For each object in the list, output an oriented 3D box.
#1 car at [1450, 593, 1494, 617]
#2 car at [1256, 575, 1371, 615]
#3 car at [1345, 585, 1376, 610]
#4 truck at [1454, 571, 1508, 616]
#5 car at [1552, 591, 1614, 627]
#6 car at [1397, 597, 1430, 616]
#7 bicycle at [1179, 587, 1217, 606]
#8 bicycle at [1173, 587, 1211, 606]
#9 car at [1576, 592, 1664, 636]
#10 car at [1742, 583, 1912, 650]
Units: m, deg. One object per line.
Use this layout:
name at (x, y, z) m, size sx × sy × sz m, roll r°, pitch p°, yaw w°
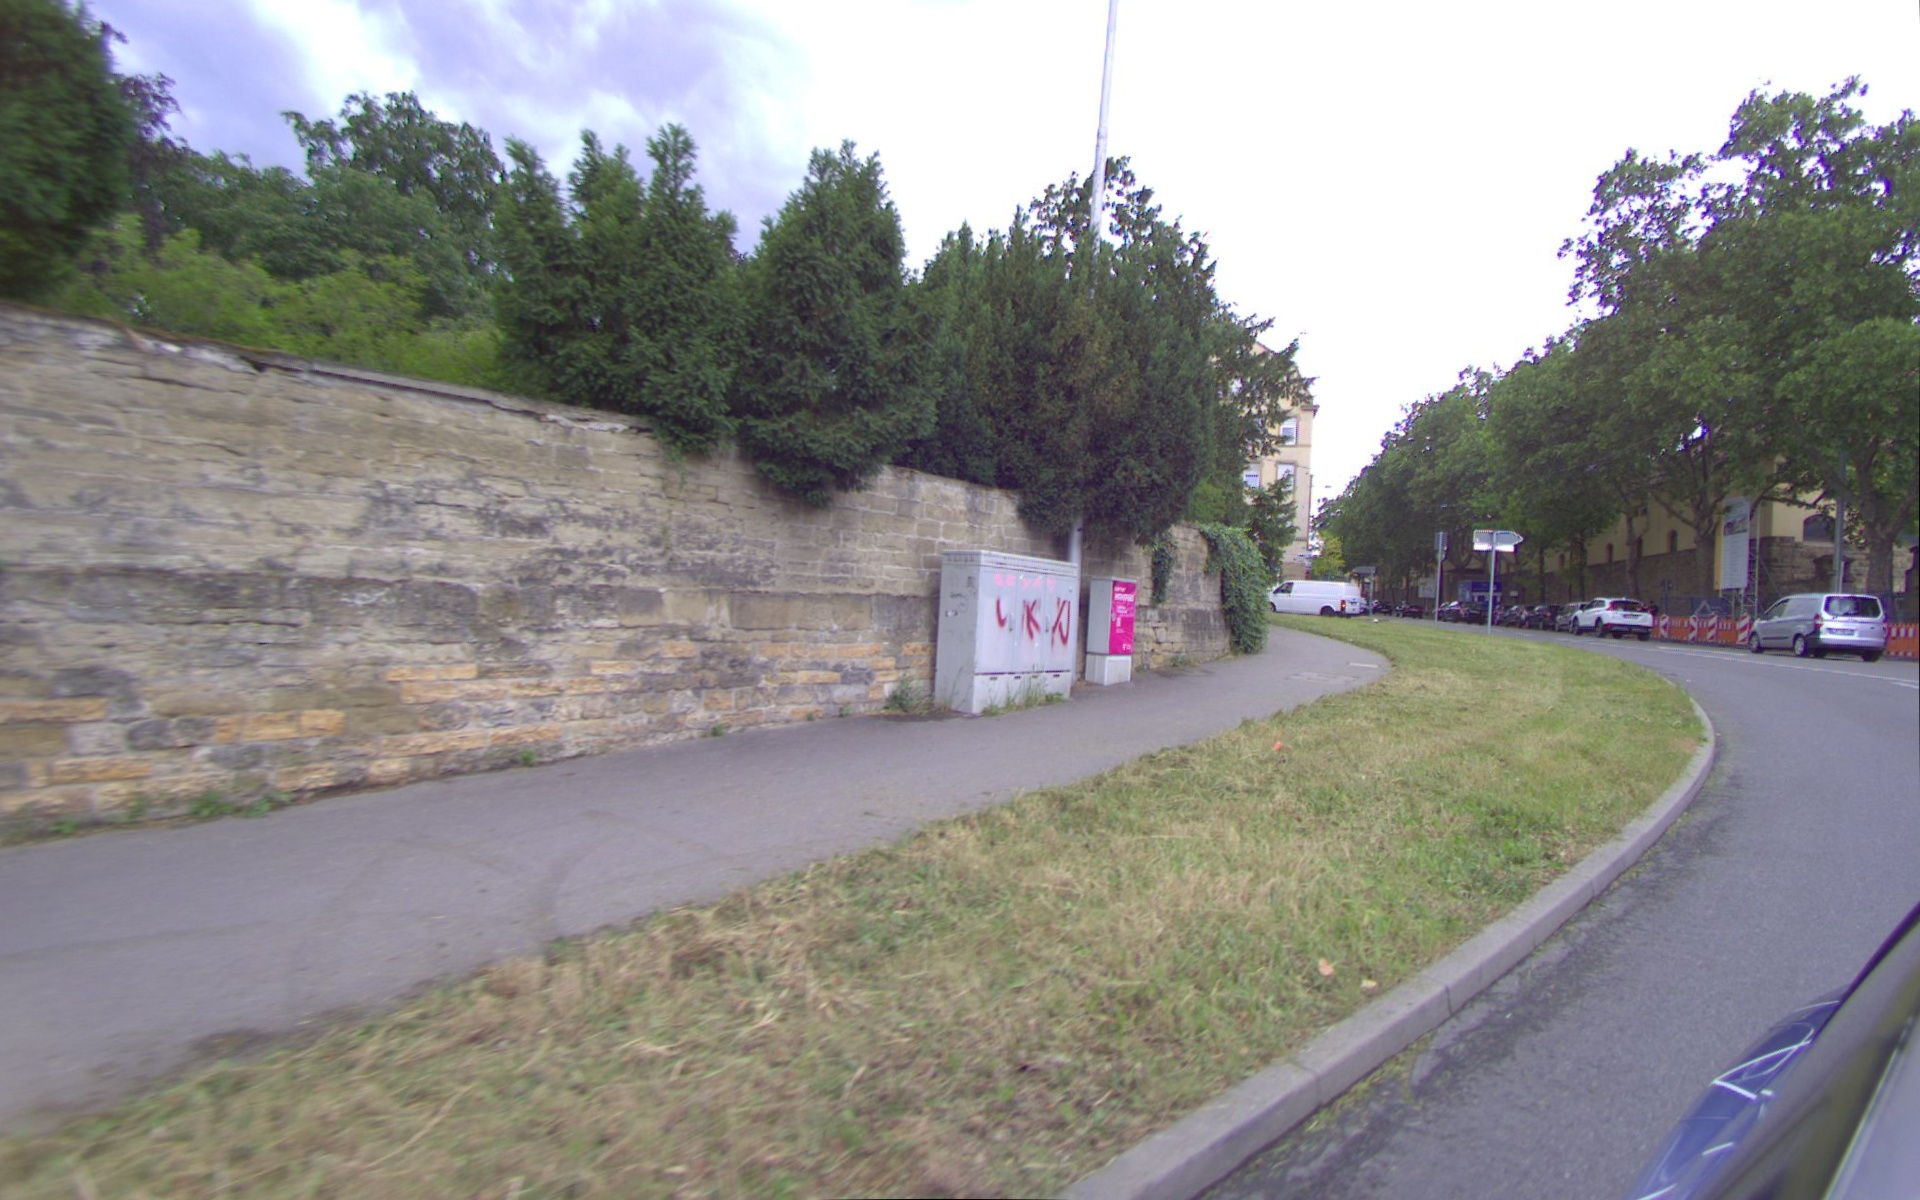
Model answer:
car at (34.027, 0.289, 67.382) m, size 1.783 × 1.491 × 4.824 m, roll -1°, pitch 0°, yaw 17°
car at (18.138, -0.287, 52.134) m, size 2.173 × 1.955 × 5.234 m, roll 0°, pitch 1°, yaw -40°
car at (28.408, -0.203, 71.911) m, size 1.548 × 1.630 × 3.637 m, roll 3°, pitch 1°, yaw 15°
truck at (42.029, -0.572, 81.864) m, size 2.189 × 3.459 × 7.217 m, roll 1°, pitch 0°, yaw 13°
car at (36.274, 0.495, 59.033) m, size 1.814 × 1.899 × 4.395 m, roll 3°, pitch 1°, yaw 15°
car at (38.049, 0.498, 84.982) m, size 1.680 × 1.443 × 4.230 m, roll 4°, pitch 1°, yaw 14°
bicycle at (14.946, -0.213, 63.606) m, size 2.172 × 1.079 × 0.594 m, roll 5°, pitch 2°, yaw 34°
bicycle at (14.400, -0.219, 62.794) m, size 2.172 × 1.079 × 0.594 m, roll 5°, pitch 2°, yaw 34°
car at (27.201, 0.550, 41.865) m, size 1.773 × 1.631 × 4.483 m, roll 3°, pitch 1°, yaw 17°
car at (23.078, 0.379, 27.161) m, size 1.671 × 1.634 × 4.069 m, roll 1°, pitch 1°, yaw 12°
